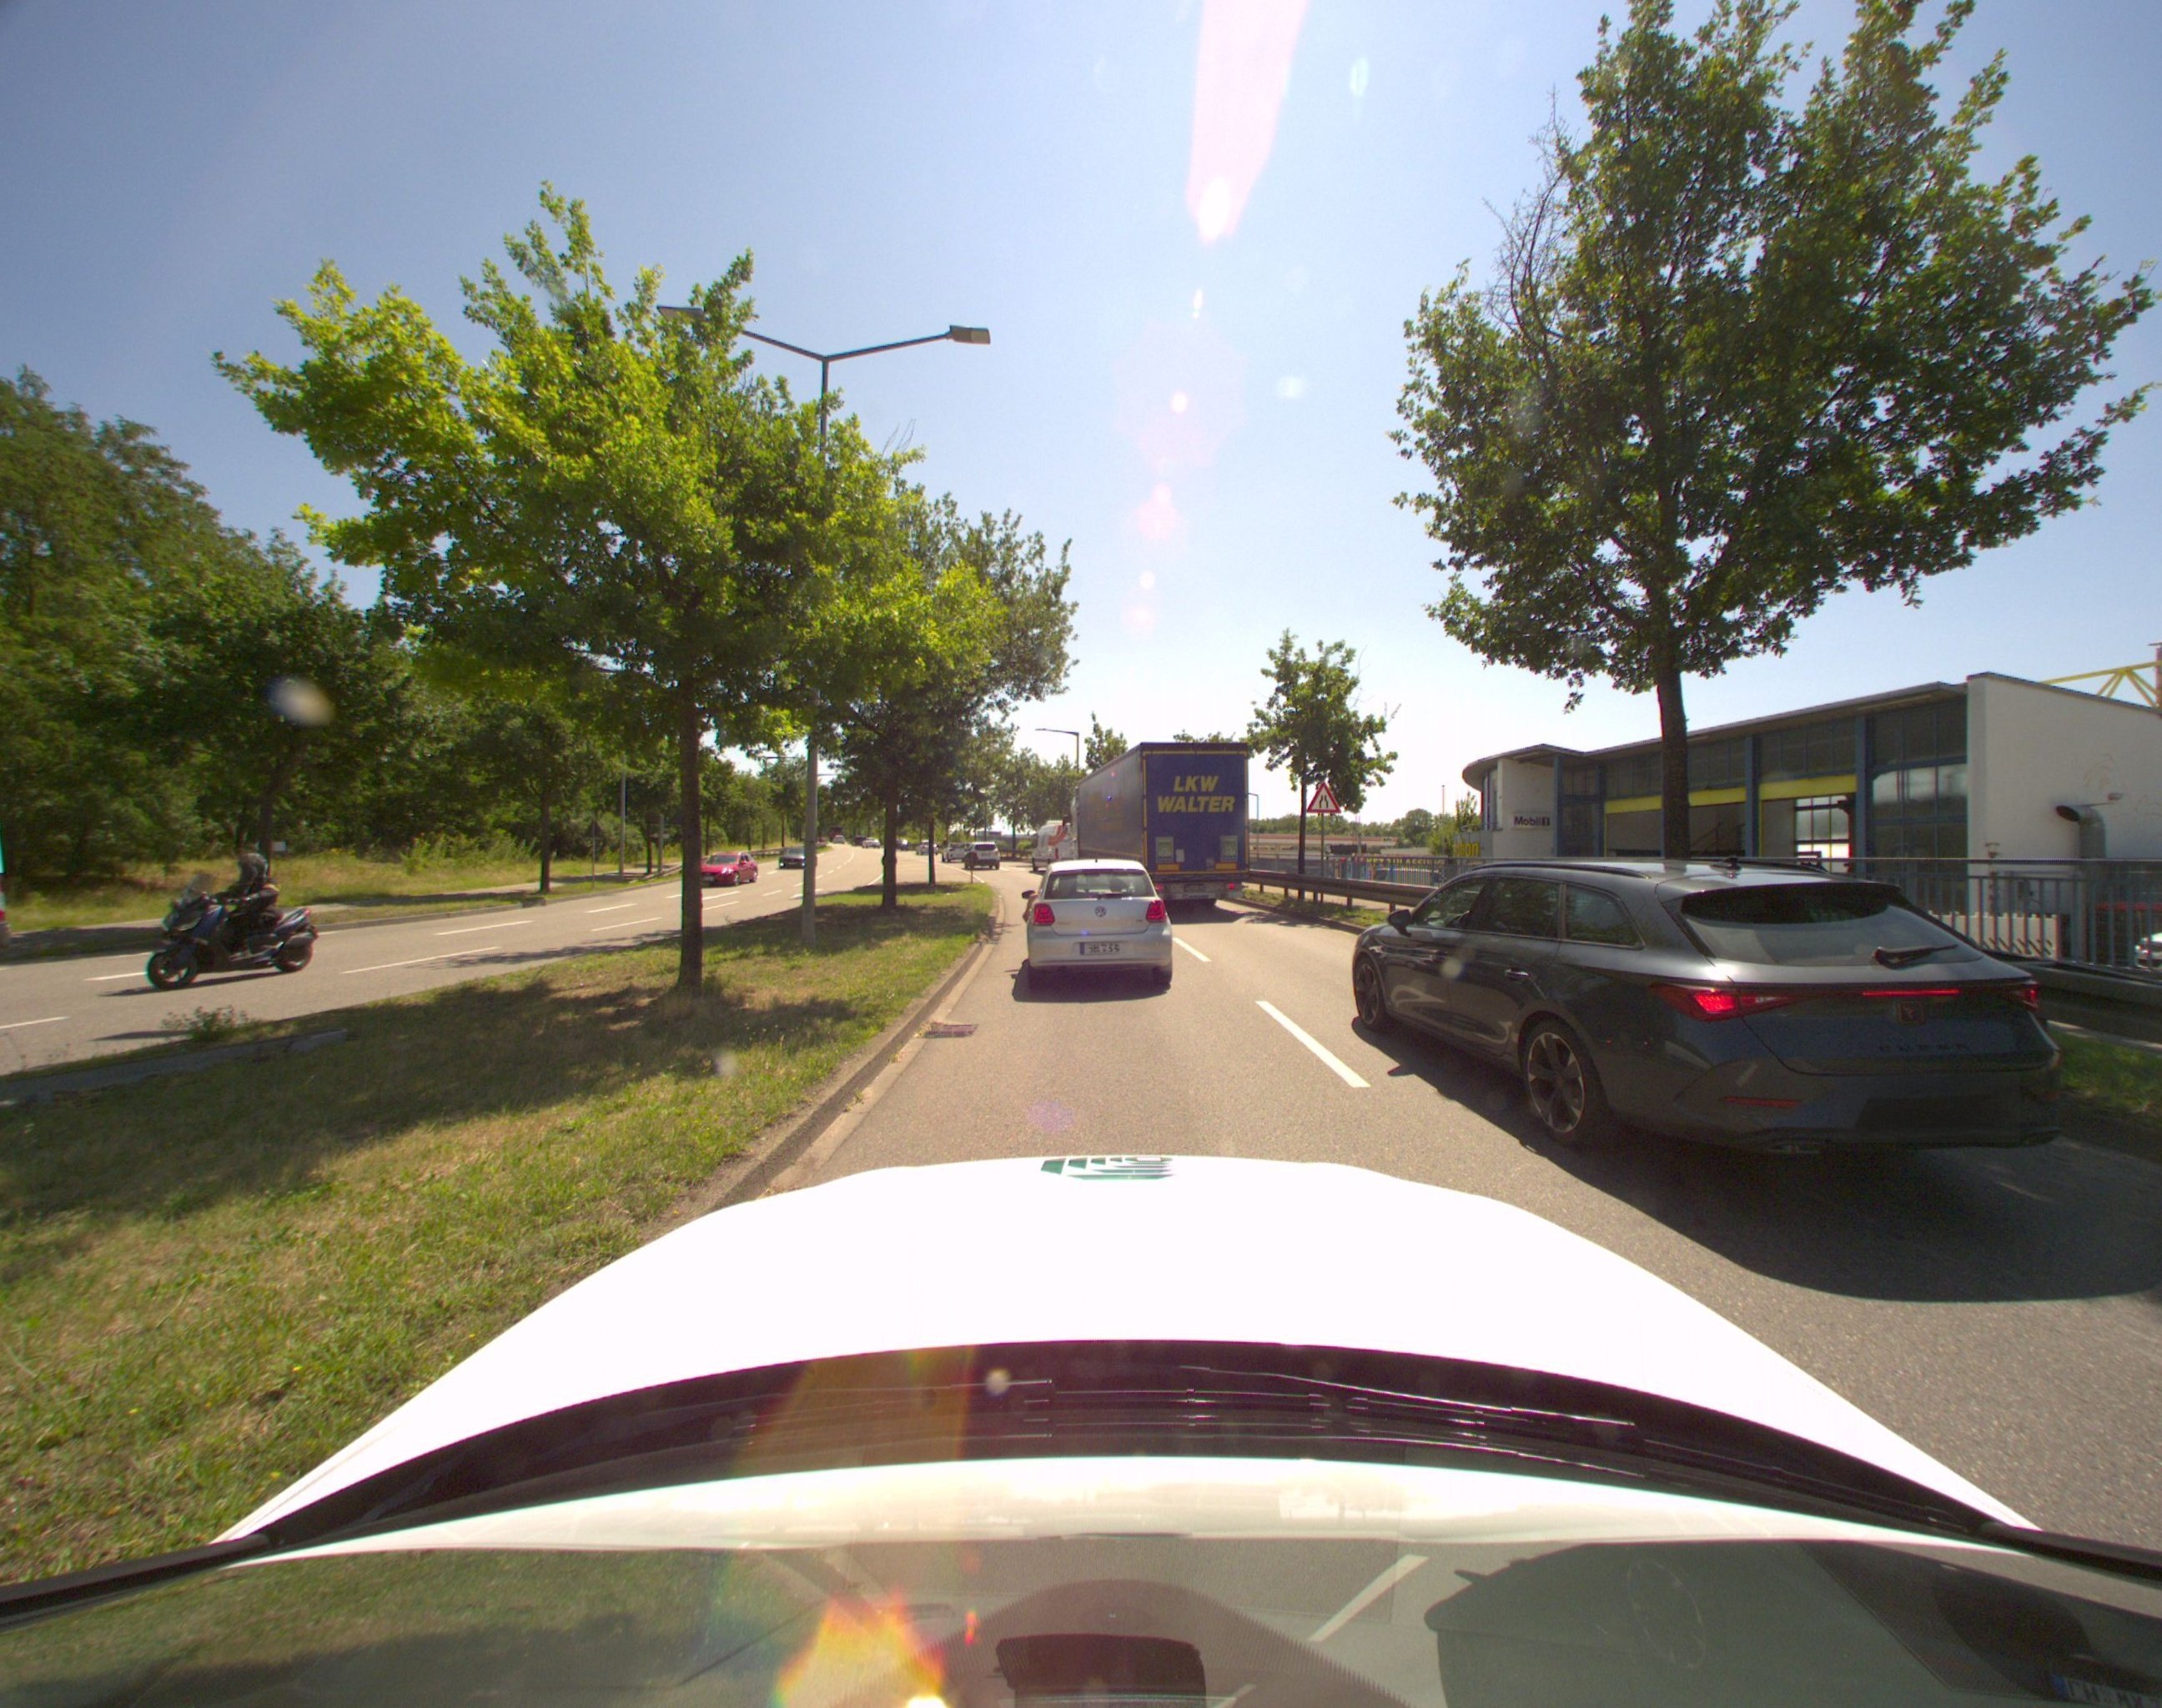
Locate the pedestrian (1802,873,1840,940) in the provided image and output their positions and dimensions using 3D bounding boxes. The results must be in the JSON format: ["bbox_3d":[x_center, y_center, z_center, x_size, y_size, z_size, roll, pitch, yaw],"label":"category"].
[{"bbox_3d":[19.261,1.350,21.216,0.425,1.703,0.588,0,-1,-4],"label":"pedestrian"}]

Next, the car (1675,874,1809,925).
[{"bbox_3d":[23.364,1.579,28.845,3.666,1.684,1.645,0,-1,-9],"label":"car"}]

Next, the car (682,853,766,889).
[{"bbox_3d":[-16.063,0.735,36.896,1.826,1.437,4.523,-2,-1,-1],"label":"car"}]

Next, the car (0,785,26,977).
[{"bbox_3d":[-15.103,0.432,7.882,2.087,2.500,5.809,-1,1,0],"label":"car"}]

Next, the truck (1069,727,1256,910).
[{"bbox_3d":[1.786,-0.834,26.979,2.830,4.198,16.438,0,0,-6],"label":"truck"}]

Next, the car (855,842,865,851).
[{"bbox_3d":[-33.406,-1.101,122.837,1.421,1.314,3.318,0,-1,-16],"label":"car"}]

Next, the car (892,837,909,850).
[{"bbox_3d":[-21.798,-1.232,98.266,1.669,1.465,3.561,0,-1,-16],"label":"car"}]

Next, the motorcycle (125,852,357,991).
[{"bbox_3d":[-11.237,0.822,11.063,0.595,1.678,2.425,0,-1,1],"label":"motorcycle"}]

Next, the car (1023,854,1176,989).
[{"bbox_3d":[0.167,0.735,10.521,1.641,1.439,3.535,0,-1,-1],"label":"car"}]

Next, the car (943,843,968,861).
[{"bbox_3d":[-9.617,-0.151,62.218,1.497,1.360,3.644,0,0,-14],"label":"car"}]

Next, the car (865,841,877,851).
[{"bbox_3d":[-28.696,-1.035,111.281,1.460,1.314,3.617,0,-1,-16],"label":"car"}]

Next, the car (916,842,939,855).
[{"bbox_3d":[-15.615,-0.552,82.849,1.614,1.360,3.636,0,0,-22],"label":"car"}]

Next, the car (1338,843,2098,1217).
[{"bbox_3d":[3.198,0.706,5.335,1.600,1.456,4.232,0,-1,-1],"label":"car"}]

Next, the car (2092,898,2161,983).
[{"bbox_3d":[20.822,1.494,13.306,5.017,1.358,2.013,-1,-1,35],"label":"car"}]

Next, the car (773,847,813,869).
[{"bbox_3d":[-18.896,0.270,53.637,1.810,1.333,4.551,0,-1,-11],"label":"car"}]

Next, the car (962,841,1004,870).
[{"bbox_3d":[-6.070,0.087,50.283,1.908,1.718,4.199,0,-1,-17],"label":"car"}]

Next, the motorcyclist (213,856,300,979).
[{"bbox_3d":[-11.235,0.850,11.114,0.586,1.626,0.561,0,-1,-6],"label":"motorcyclist"}]

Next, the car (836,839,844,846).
[{"bbox_3d":[-42.502,-2.025,143.827,1.325,1.139,2.977,0,-1,-17],"label":"car"}]

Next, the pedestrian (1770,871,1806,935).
[{"bbox_3d":[19.099,1.305,22.005,0.520,1.703,0.488,0,-1,-3],"label":"pedestrian"}]

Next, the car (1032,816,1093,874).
[{"bbox_3d":[-1.127,-0.511,44.565,2.178,2.900,6.331,0,1,-12],"label":"car"}]
